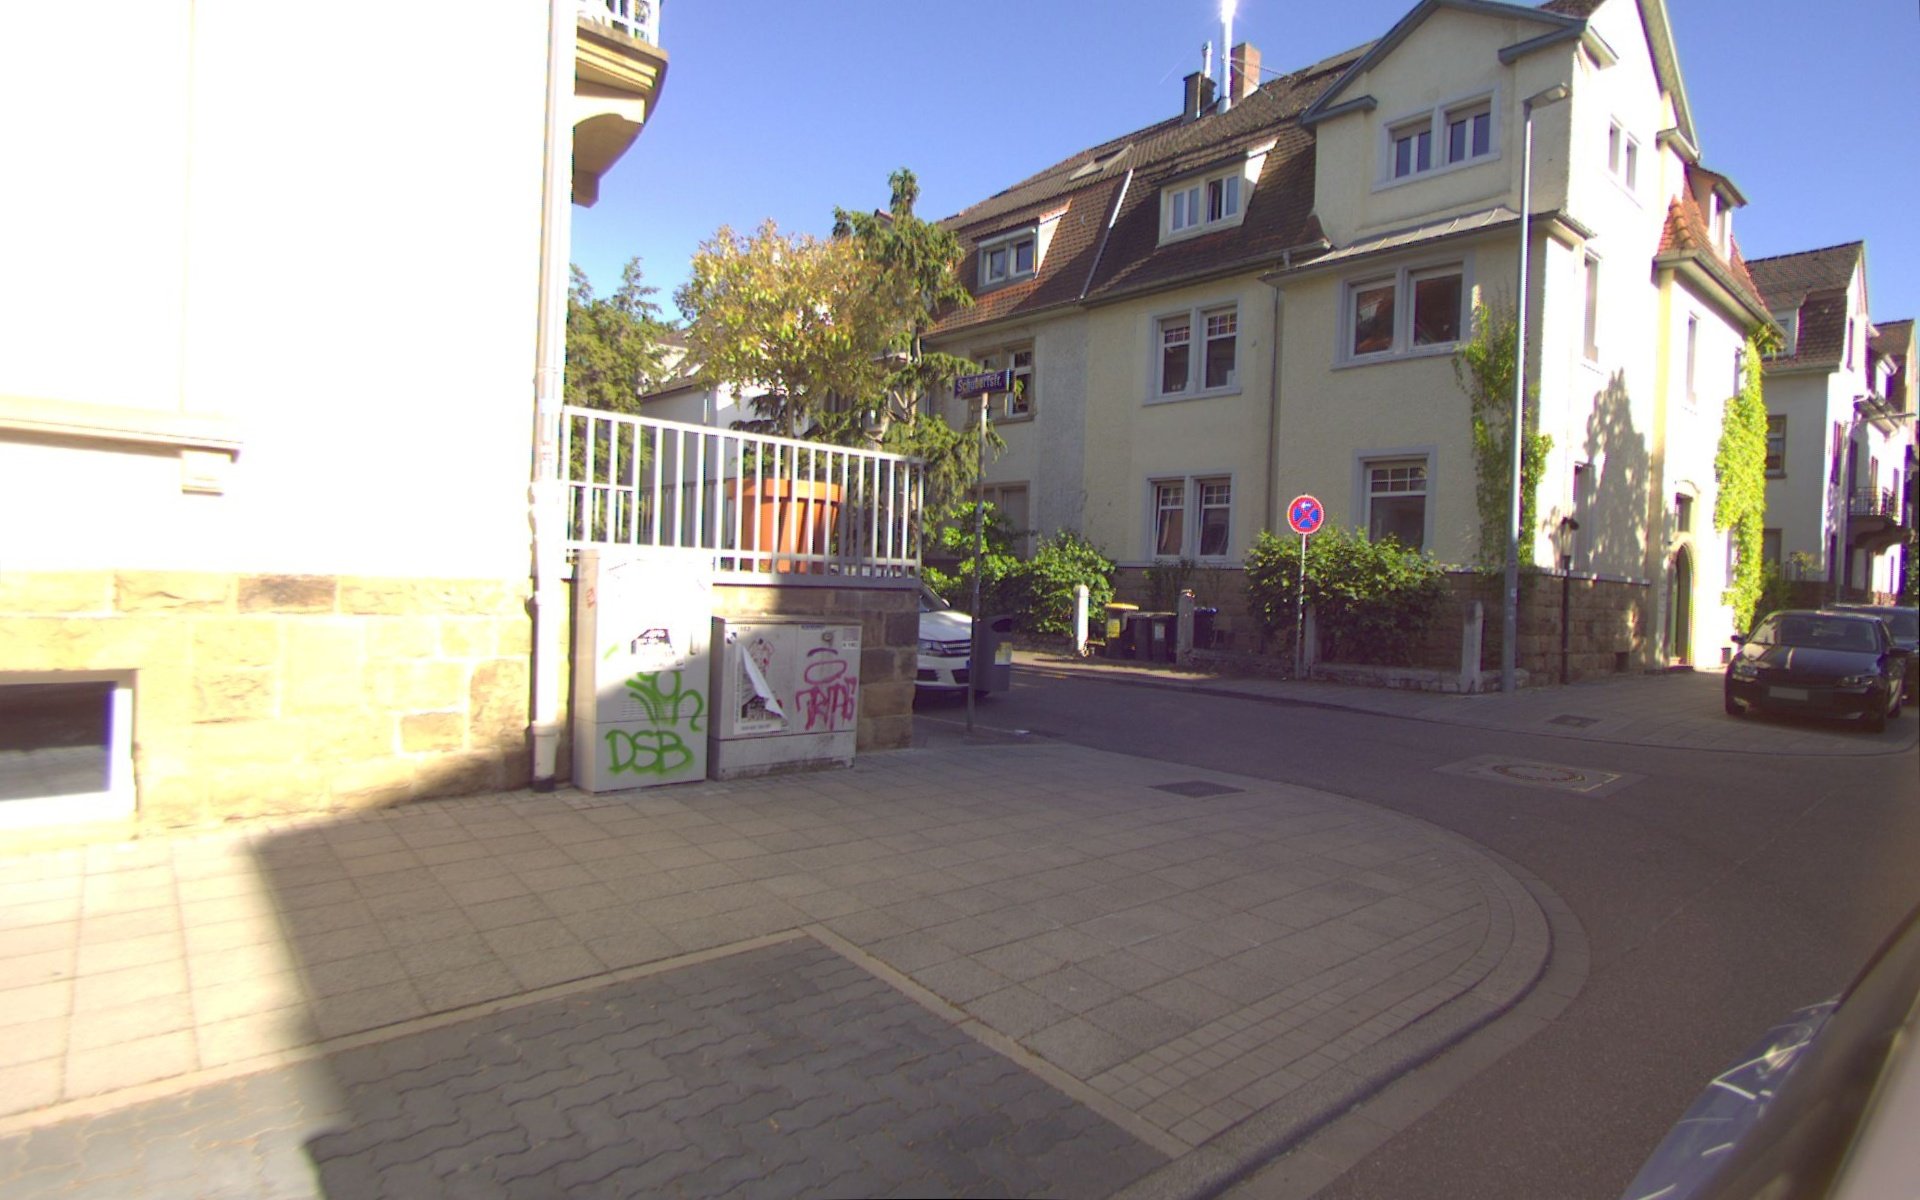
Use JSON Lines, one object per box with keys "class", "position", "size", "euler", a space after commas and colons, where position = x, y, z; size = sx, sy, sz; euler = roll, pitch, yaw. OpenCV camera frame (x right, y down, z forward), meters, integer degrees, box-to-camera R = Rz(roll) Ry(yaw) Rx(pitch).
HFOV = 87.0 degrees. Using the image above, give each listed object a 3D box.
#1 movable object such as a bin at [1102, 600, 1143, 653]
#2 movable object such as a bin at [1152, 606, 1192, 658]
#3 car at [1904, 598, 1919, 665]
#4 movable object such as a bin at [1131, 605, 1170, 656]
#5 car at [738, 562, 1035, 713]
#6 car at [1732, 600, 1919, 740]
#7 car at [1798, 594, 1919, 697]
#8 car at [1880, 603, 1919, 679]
{"class": "movable object such as a bin", "position": [3.225, 0.519, 20.109], "size": [0.655, 1.034, 0.519], "euler": [0, 0, -41]}
{"class": "movable object such as a bin", "position": [4.043, 0.597, 19.316], "size": [0.566, 0.964, 0.519], "euler": [0, 0, -41]}
{"class": "car", "position": [24.392, 0.789, 24.711], "size": [3.408, 1.568, 1.579], "euler": [0, 3, -41]}
{"class": "movable object such as a bin", "position": [3.722, 0.584, 19.798], "size": [0.566, 0.964, 0.519], "euler": [0, 0, -41]}
{"class": "car", "position": [-1.082, 0.340, 13.154], "size": [1.761, 1.610, 3.992], "euler": [-2, 3, -43]}
{"class": "car", "position": [12.123, 0.830, 14.002], "size": [3.935, 1.538, 1.664], "euler": [-1, 4, -44]}
{"class": "car", "position": [16.352, 0.710, 17.775], "size": [4.291, 1.538, 1.795], "euler": [0, 4, -41]}
{"class": "car", "position": [21.071, 0.880, 21.521], "size": [4.120, 1.453, 1.713], "euler": [0, 4, -41]}
